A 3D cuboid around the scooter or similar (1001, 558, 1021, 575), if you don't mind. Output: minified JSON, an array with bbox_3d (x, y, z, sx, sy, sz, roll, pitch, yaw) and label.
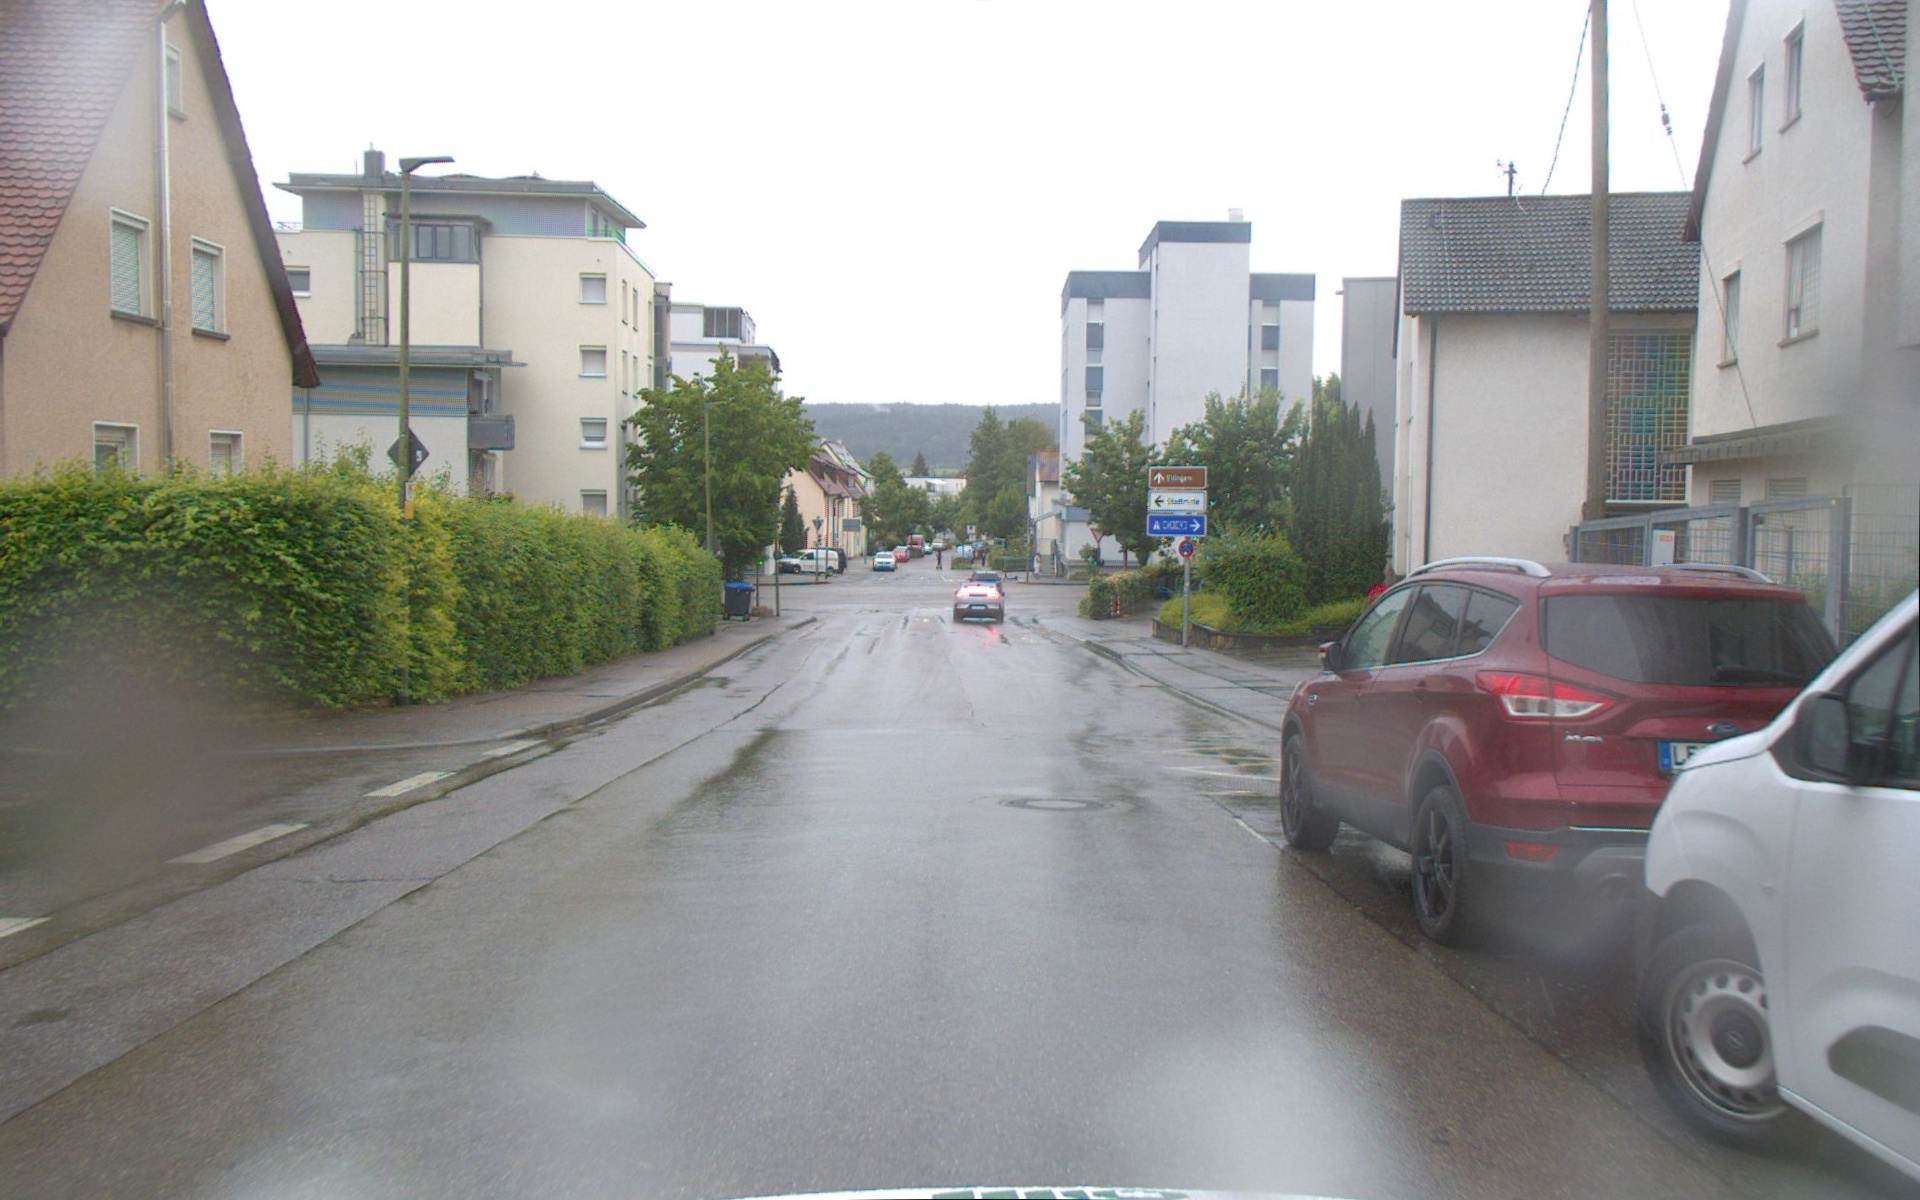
[{"bbox_3d":[3.414,-2.247,110.688,1.243,1.100,0.876,-1,2,-5],"label":"scooter or similar"}]

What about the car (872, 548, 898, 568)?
[{"bbox_3d":[-6.311,-3.569,139.827,1.953,1.654,4.192,-1,2,0],"label":"car"}]

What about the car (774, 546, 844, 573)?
[{"bbox_3d":[-10.870,-2.922,119.258,4.798,1.867,1.972,-3,3,-39],"label":"car"}]

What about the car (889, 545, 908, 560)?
[{"bbox_3d":[-6.533,-5.087,176.267,1.862,1.585,4.192,-1,2,0],"label":"car"}]

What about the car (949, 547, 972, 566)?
[{"bbox_3d":[0.036,-4.039,153.284,2.102,1.616,4.128,-1,2,0],"label":"car"}]

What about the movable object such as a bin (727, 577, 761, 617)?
[{"bbox_3d":[-7.771,-0.116,59.510,1.050,1.371,1.318,2,1,-3],"label":"movable object such as a bin"}]

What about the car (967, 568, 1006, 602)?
[{"bbox_3d":[1.458,-0.847,92.365,1.954,1.713,3.999,-1,2,-3],"label":"car"}]

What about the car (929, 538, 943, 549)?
[{"bbox_3d":[-3.332,-7.743,226.535,1.862,1.585,4.192,-1,2,0],"label":"car"}]

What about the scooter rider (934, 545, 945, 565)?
[{"bbox_3d":[-1.816,-4.026,148.338,0.742,1.827,0.668,-2,2,-23],"label":"scooter rider"}]

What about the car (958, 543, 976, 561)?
[{"bbox_3d":[0.730,-5.119,175.381,1.862,1.775,4.192,-1,2,0],"label":"car"}]

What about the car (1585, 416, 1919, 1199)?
[{"bbox_3d":[3.030,0.537,3.289,1.840,1.865,4.488,0,1,-1],"label":"car"}]

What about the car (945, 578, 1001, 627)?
[{"bbox_3d":[0.485,0.069,65.291,1.954,1.713,3.999,-1,2,-3],"label":"car"}]

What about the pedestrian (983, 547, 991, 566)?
[{"bbox_3d":[2.596,-4.216,160.019,0.730,1.881,0.526,0,0,1],"label":"pedestrian"}]

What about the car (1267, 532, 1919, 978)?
[{"bbox_3d":[3.075,0.554,8.707,1.953,1.673,4.958,0,1,-1],"label":"car"}]

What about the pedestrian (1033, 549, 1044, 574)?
[{"bbox_3d":[5.329,-2.614,112.132,0.635,1.676,0.525,3,1,-7],"label":"pedestrian"}]
